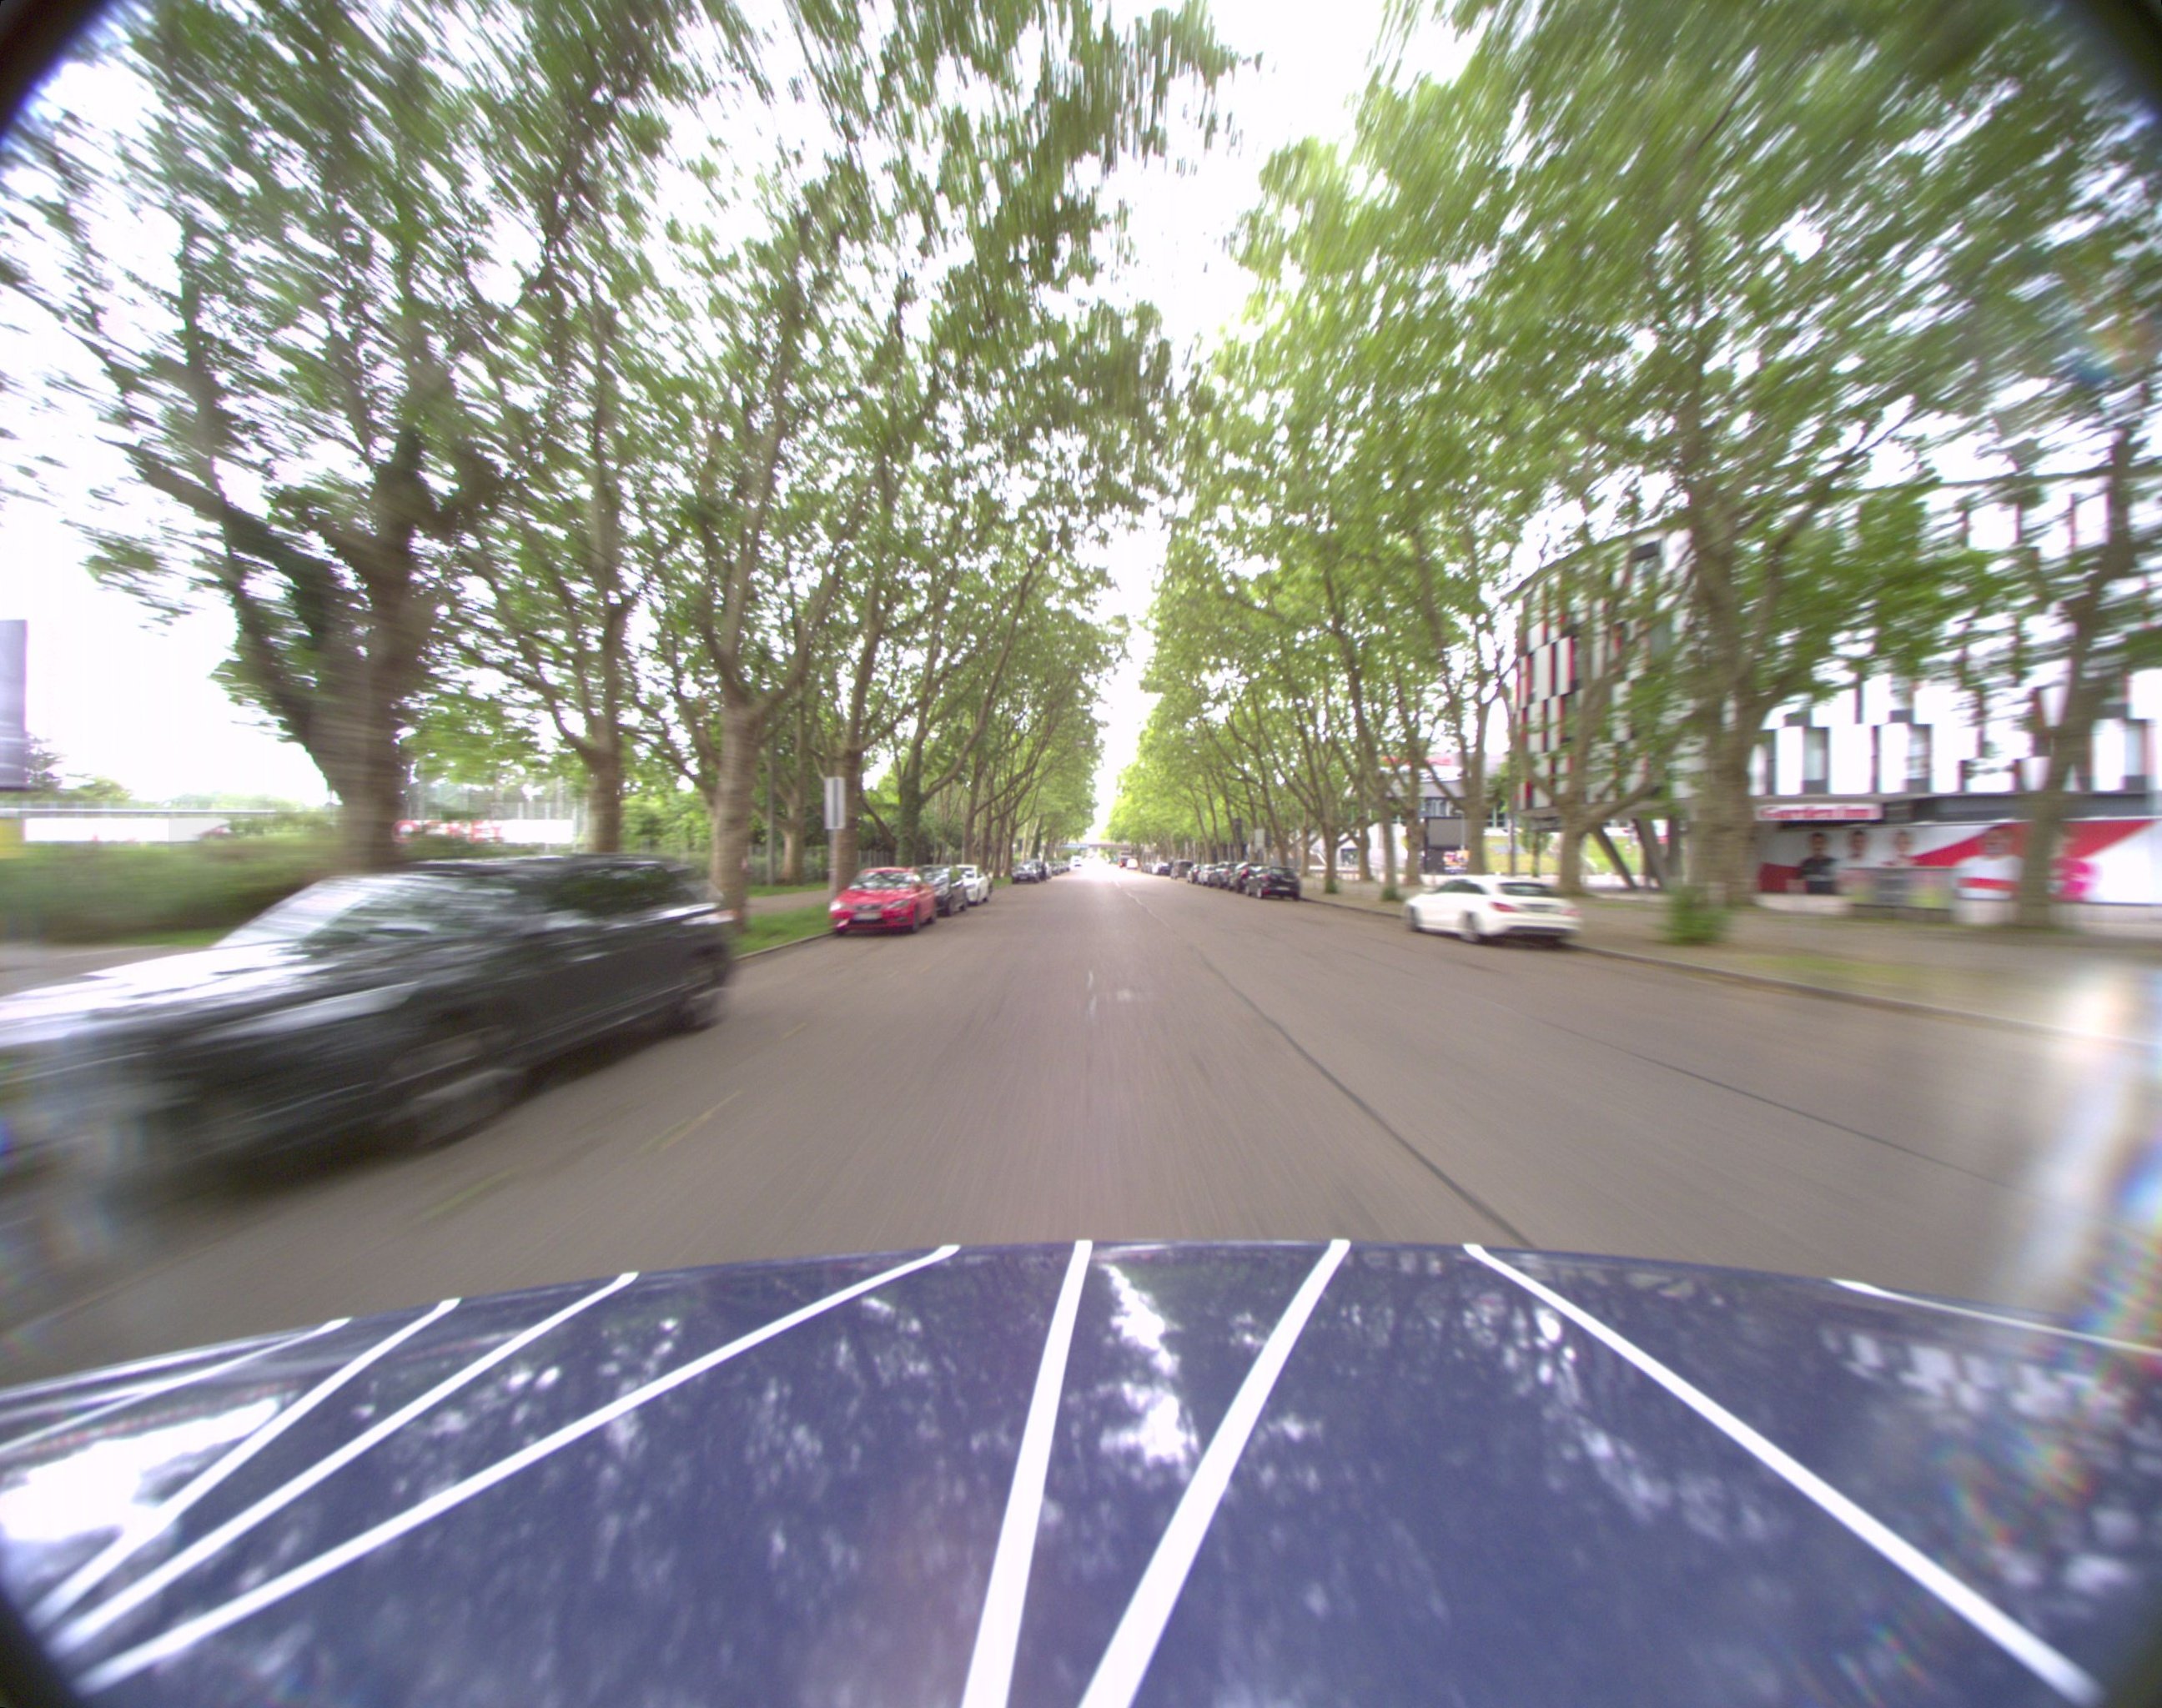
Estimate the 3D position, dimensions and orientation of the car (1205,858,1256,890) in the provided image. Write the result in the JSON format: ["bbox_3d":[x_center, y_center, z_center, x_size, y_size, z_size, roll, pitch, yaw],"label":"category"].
[{"bbox_3d":[8.870,1.152,45.447,1.874,1.708,4.647,3,0,-2],"label":"car"}]

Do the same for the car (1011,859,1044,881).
[{"bbox_3d":[-3.808,1.152,55.144,1.998,1.469,4.371,-1,0,1],"label":"car"}]

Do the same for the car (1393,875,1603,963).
[{"bbox_3d":[8.659,1.266,16.372,1.908,1.394,4.751,3,0,1],"label":"car"}]

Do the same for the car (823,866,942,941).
[{"bbox_3d":[-4.432,1.032,17.667,1.721,1.430,4.628,-2,0,-3],"label":"car"}]

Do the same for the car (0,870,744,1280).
[{"bbox_3d":[-4.322,0.983,5.389,1.760,1.610,4.439,-2,0,1],"label":"car"}]

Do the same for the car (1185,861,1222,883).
[{"bbox_3d":[9.004,1.312,56.206,2.088,1.521,5.146,2,-1,2],"label":"car"}]

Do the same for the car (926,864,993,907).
[{"bbox_3d":[-4.333,1.081,27.752,1.739,1.430,4.123,0,0,1],"label":"car"}]

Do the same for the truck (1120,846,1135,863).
[{"bbox_3d":[10.830,0.179,178.091,2.917,3.846,9.467,1,0,1],"label":"truck"}]

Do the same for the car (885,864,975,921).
[{"bbox_3d":[-4.421,1.080,22.861,1.734,1.461,4.080,-2,0,2],"label":"car"}]

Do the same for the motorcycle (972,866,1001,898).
[{"bbox_3d":[-4.065,1.182,32.919,0.713,1.324,1.994,0,0,9],"label":"motorcycle"}]

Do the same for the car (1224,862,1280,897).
[{"bbox_3d":[8.869,1.264,39.812,1.942,1.633,4.929,3,0,2],"label":"car"}]

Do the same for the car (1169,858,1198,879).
[{"bbox_3d":[9.356,1.319,69.658,1.900,1.785,4.612,3,0,0],"label":"car"}]

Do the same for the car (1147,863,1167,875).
[{"bbox_3d":[9.610,1.853,96.088,1.824,1.475,4.993,1,0,-2],"label":"car"}]

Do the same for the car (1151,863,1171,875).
[{"bbox_3d":[9.427,1.799,90.142,1.820,1.354,5.006,2,-1,0],"label":"car"}]

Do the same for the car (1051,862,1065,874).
[{"bbox_3d":[-3.059,1.829,101.311,1.781,1.544,4.396,-2,-1,0],"label":"car"}]

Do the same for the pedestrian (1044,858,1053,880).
[{"bbox_3d":[-2.464,1.119,57.574,0.635,1.617,0.742,0,0,1],"label":"pedestrian"}]

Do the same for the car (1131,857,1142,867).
[{"bbox_3d":[10.961,1.616,150.839,2.063,1.949,5.468,1,-1,5],"label":"car"}]

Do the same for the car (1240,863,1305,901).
[{"bbox_3d":[8.586,1.229,34.435,1.837,1.485,4.443,3,0,1],"label":"car"}]

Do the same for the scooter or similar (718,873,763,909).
[{"bbox_3d":[-10.774,1.154,24.099,0.682,1.032,1.467,3,0,1],"label":"scooter or similar"}]

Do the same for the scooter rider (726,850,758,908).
[{"bbox_3d":[-10.756,0.792,24.127,0.678,1.789,0.587,2,0,1],"label":"scooter rider"}]

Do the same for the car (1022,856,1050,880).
[{"bbox_3d":[-3.720,1.150,61.954,1.848,1.772,4.445,-2,-1,-8],"label":"car"}]

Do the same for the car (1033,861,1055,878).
[{"bbox_3d":[-3.363,1.384,69.396,1.623,1.453,3.947,-2,-1,2],"label":"car"}]

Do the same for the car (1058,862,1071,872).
[{"bbox_3d":[-2.572,1.975,119.594,1.734,1.468,4.983,-2,-1,1],"label":"car"}]

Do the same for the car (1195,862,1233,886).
[{"bbox_3d":[8.883,1.289,51.143,1.838,1.447,4.230,3,0,1],"label":"car"}]

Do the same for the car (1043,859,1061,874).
[{"bbox_3d":[-3.137,1.347,82.974,1.834,1.593,4.467,-2,-1,0],"label":"car"}]

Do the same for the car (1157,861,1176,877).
[{"bbox_3d":[9.481,1.645,84.548,1.822,1.584,4.345,3,0,3],"label":"car"}]

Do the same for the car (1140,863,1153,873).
[{"bbox_3d":[10.105,2.101,117.217,1.698,1.354,4.001,5,0,3],"label":"car"}]
